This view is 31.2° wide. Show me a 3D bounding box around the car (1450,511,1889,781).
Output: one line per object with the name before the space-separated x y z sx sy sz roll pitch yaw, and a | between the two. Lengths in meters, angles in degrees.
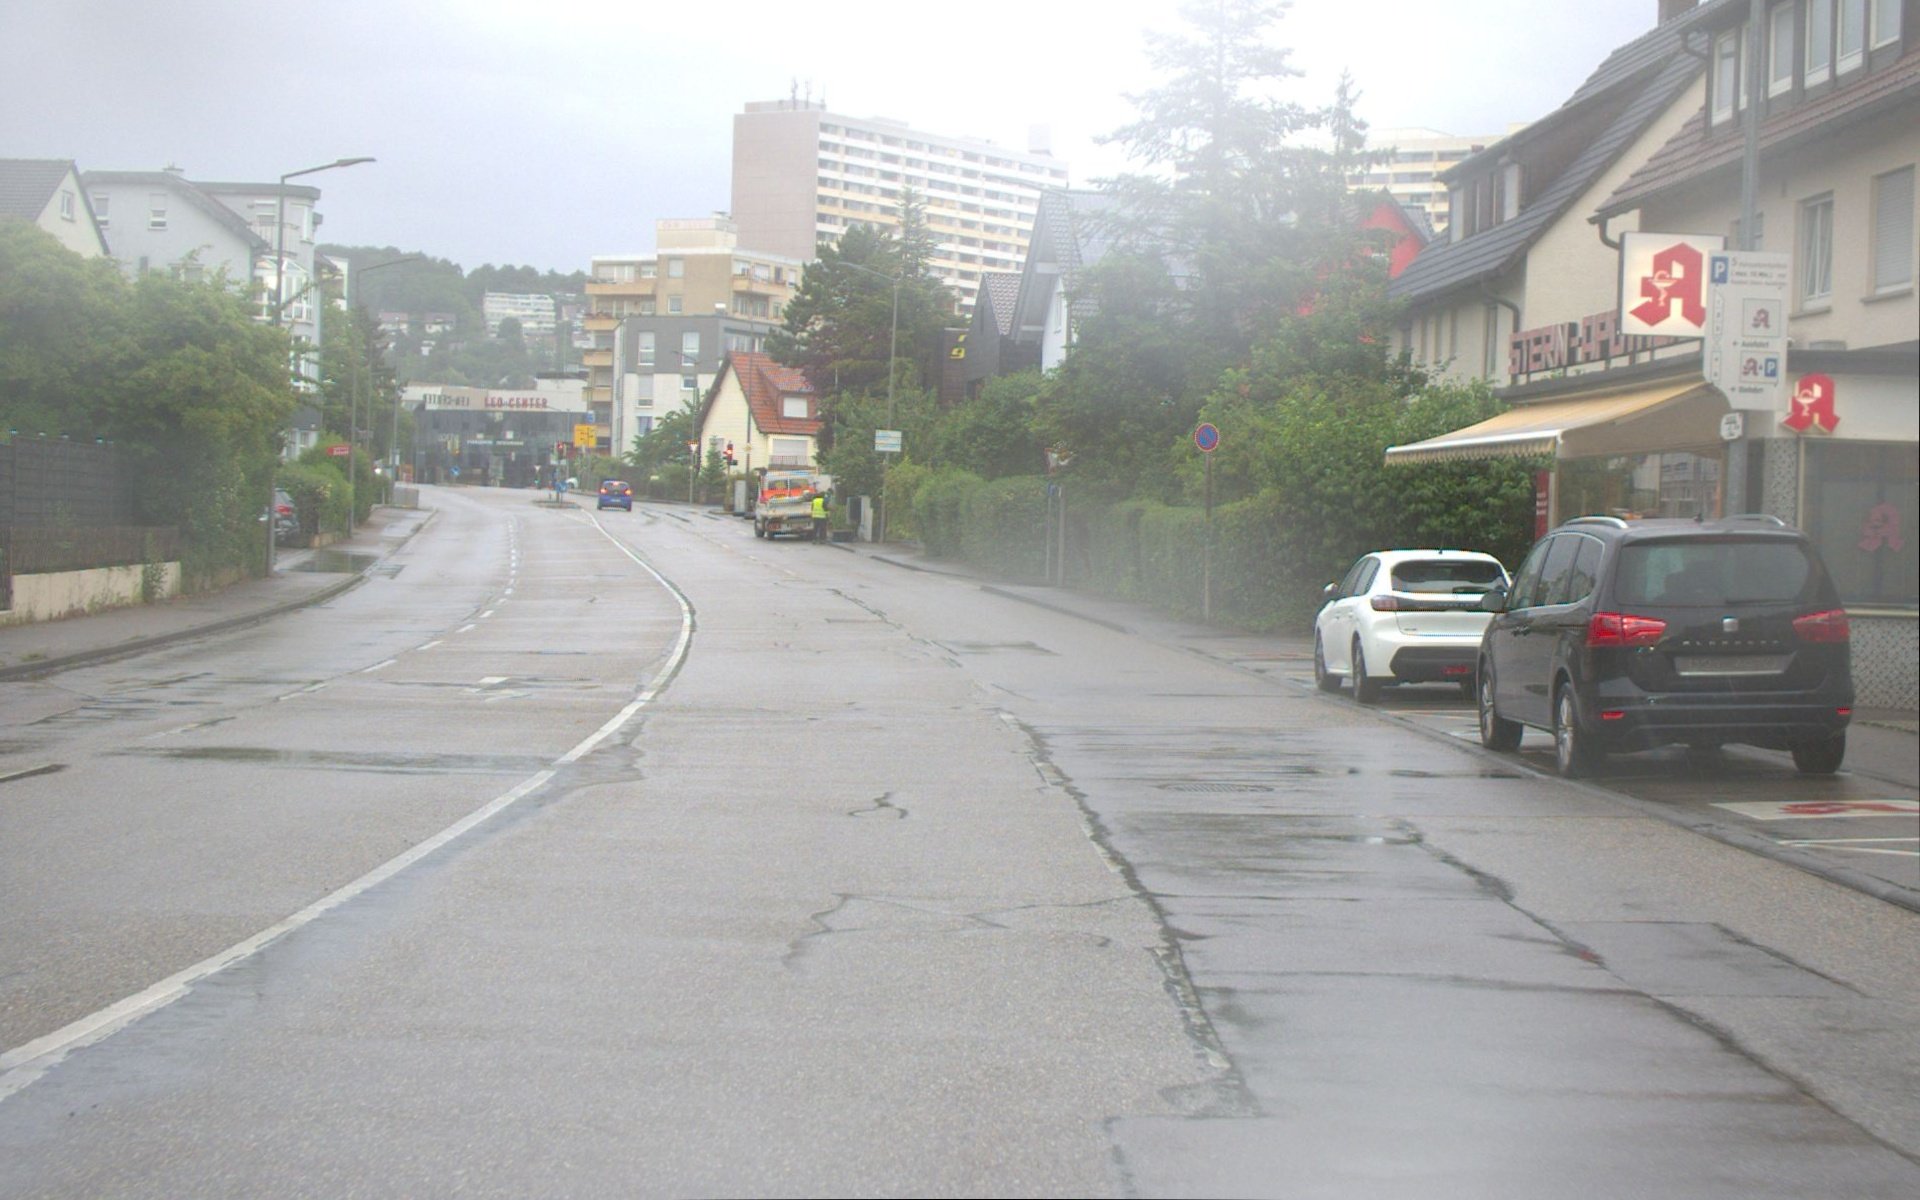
car | 4.815 0.273 24.107 2.035 1.689 4.963 0 0 0

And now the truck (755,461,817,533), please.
truck | -5.796 -3.422 114.354 1.993 2.295 4.001 2 2 -3

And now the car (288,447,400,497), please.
car | -28.048 -5.832 156.590 4.523 2.006 2.000 3 2 7

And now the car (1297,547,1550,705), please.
car | 4.526 0.207 34.111 1.815 1.443 4.204 0 1 -2

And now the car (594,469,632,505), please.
car | -17.057 -5.550 169.245 1.794 1.664 4.001 1 1 -5

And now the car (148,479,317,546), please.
car | -19.403 -2.332 91.748 3.989 1.680 1.808 2 1 11

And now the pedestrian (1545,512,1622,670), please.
pedestrian | 6.699 -0.094 36.939 0.550 1.673 0.517 1 1 -39

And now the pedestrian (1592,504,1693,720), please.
pedestrian | 6.092 0.103 30.676 0.623 1.885 0.646 3 1 34

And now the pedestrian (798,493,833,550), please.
pedestrian | -4.620 -2.500 109.943 0.823 1.791 0.800 1 2 -25
